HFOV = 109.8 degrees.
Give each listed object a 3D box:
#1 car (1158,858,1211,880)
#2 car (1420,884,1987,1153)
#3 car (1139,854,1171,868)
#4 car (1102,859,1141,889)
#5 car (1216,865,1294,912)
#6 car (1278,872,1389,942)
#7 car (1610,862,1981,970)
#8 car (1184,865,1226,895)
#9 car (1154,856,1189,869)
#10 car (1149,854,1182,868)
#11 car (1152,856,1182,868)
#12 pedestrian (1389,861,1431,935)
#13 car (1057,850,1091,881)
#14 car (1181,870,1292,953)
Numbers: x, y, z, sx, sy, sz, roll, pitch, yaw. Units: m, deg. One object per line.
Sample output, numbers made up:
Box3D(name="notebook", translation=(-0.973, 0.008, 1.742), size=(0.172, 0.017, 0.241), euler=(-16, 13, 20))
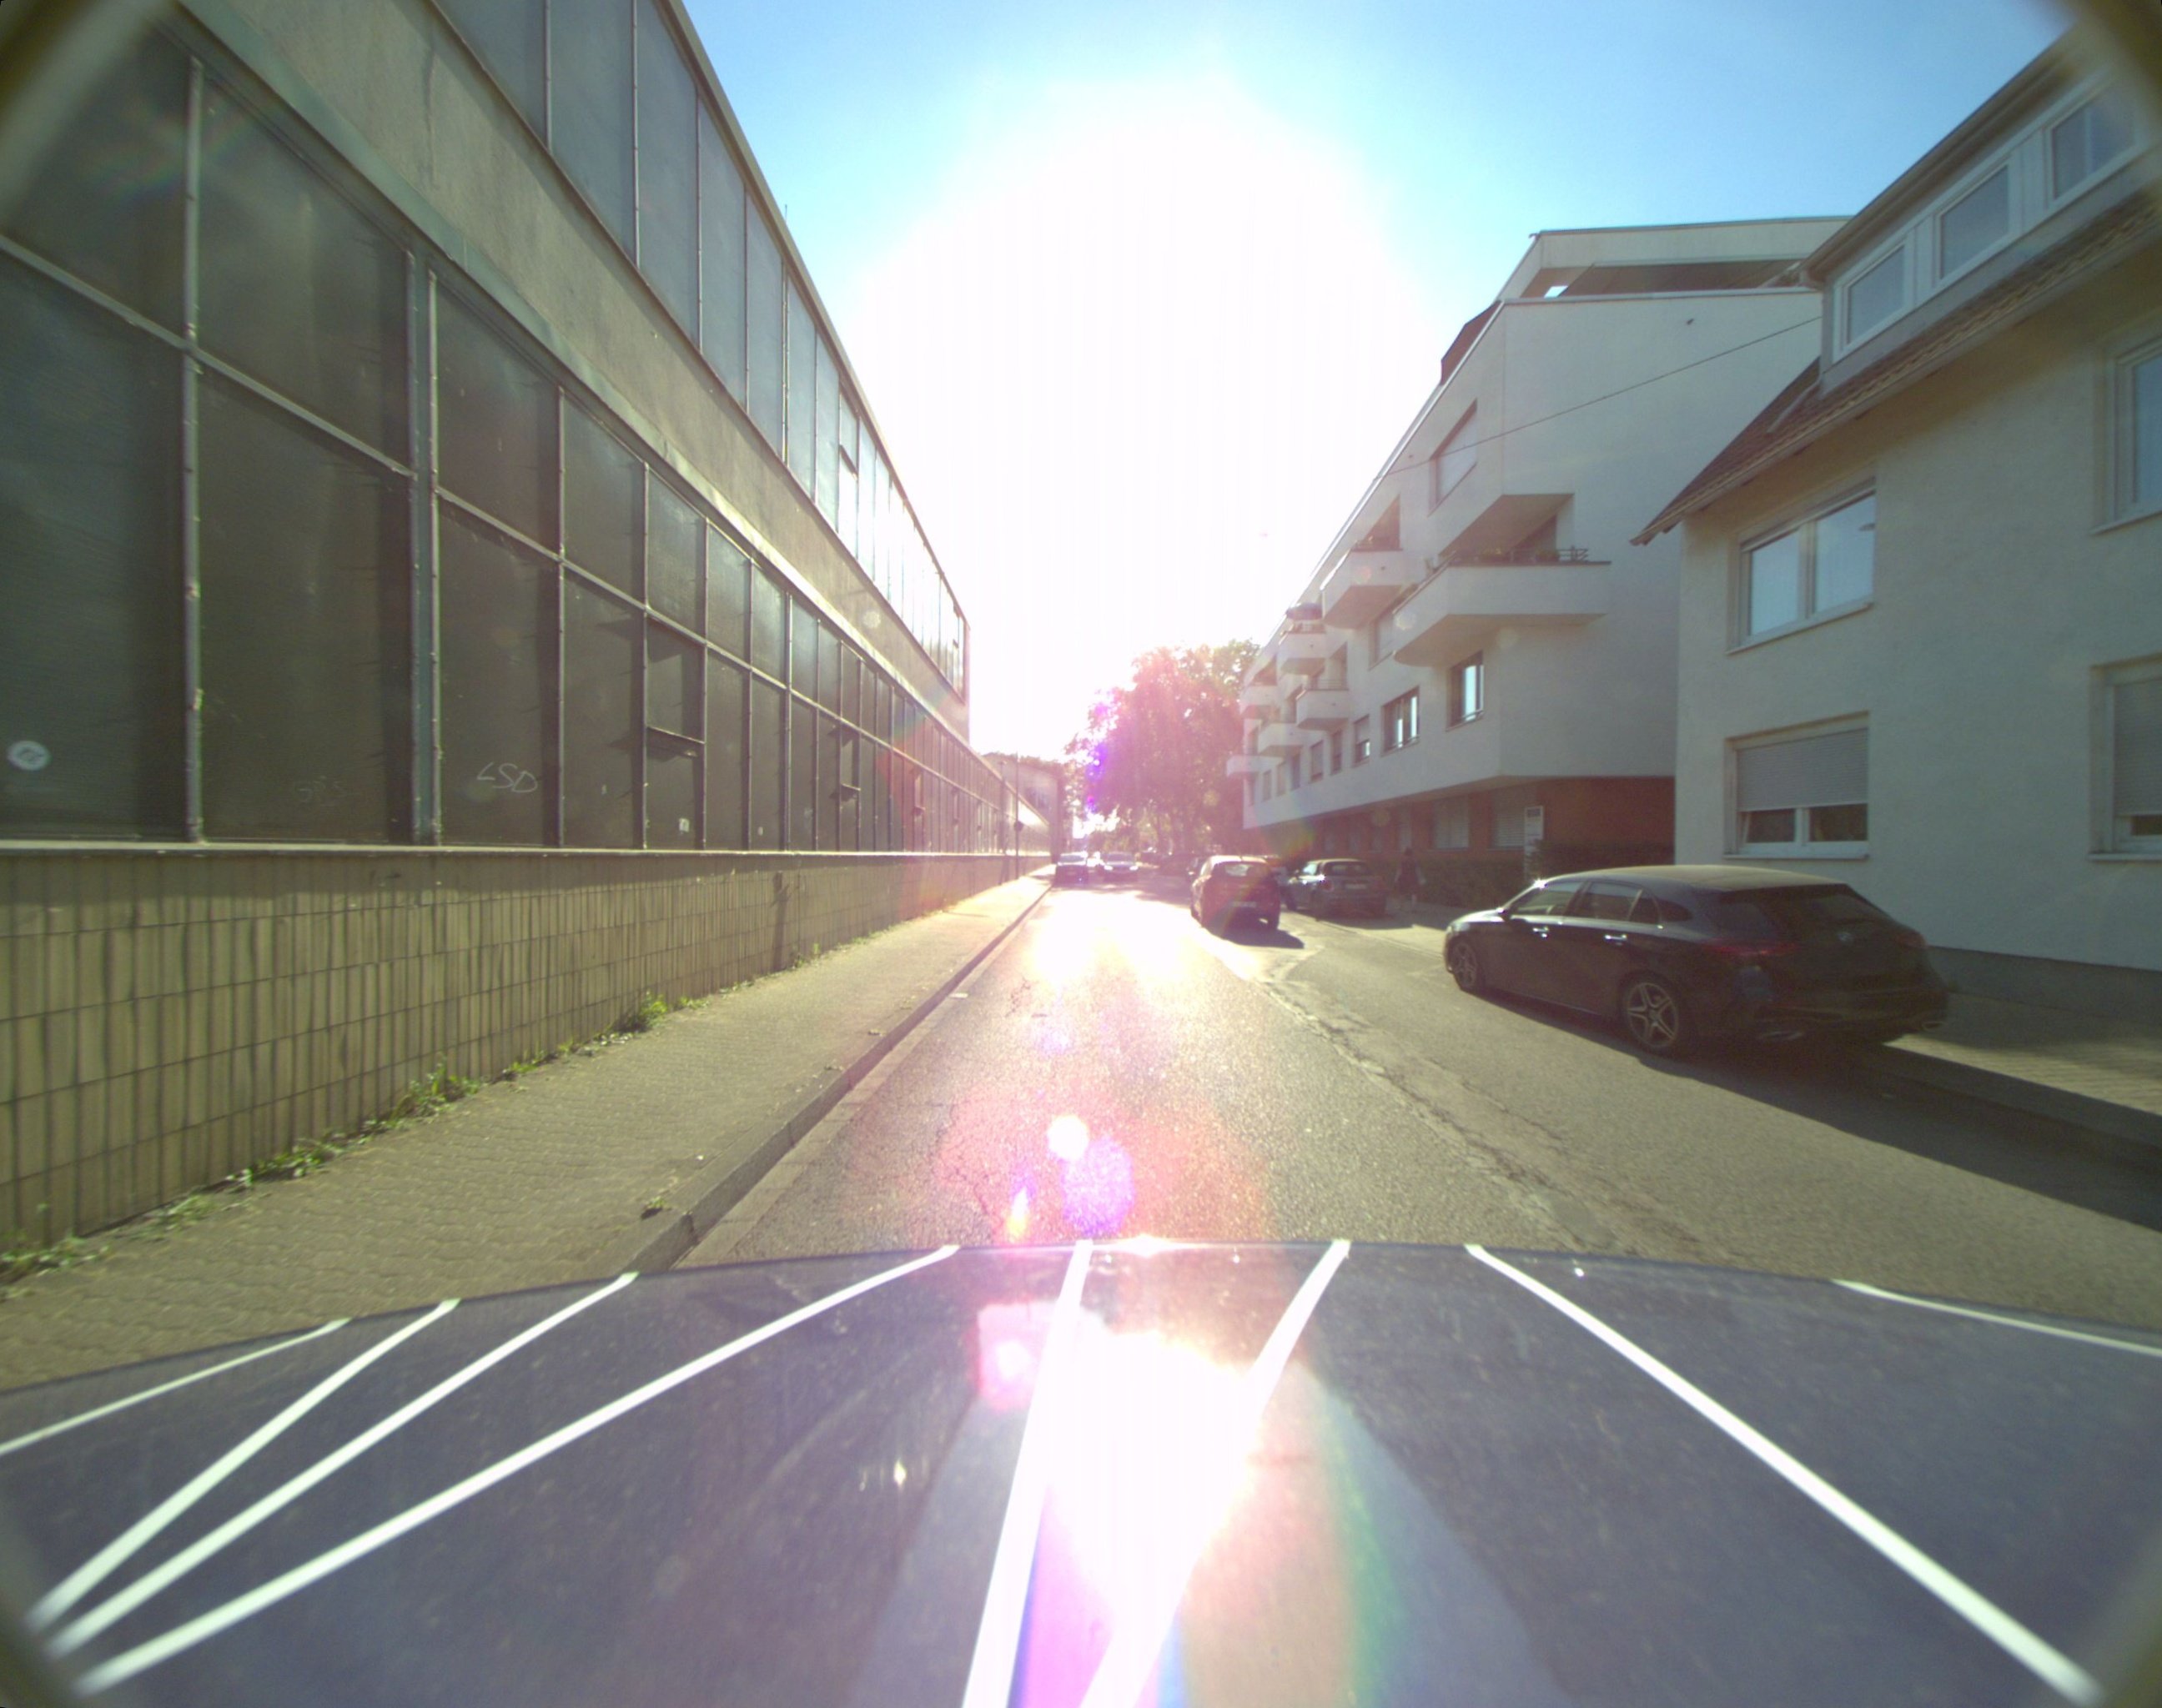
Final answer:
Box3D(name="car", translation=(8.251, 1.171, 60.437), size=(3.966, 1.652, 1.696), euler=(0, 1, -27))
Box3D(name="car", translation=(5.102, 1.168, 7.190), size=(1.689, 1.526, 4.333), euler=(-1, 1, -2))
Box3D(name="car", translation=(10.302, 1.026, 105.777), size=(4.005, 1.875, 1.713), euler=(0, 1, -26))
Box3D(name="car", translation=(2.274, 1.095, 43.280), size=(1.855, 1.527, 3.856), euler=(-1, 1, -2))
Box3D(name="car", translation=(6.706, 1.277, 29.820), size=(1.863, 1.578, 4.620), euler=(-1, 1, -2))
Box3D(name="car", translation=(6.604, 1.331, 20.286), size=(1.672, 1.527, 3.856), euler=(-1, 1, 0))
Box3D(name="car", translation=(12.354, 1.022, 13.401), size=(4.618, 1.628, 2.014), euler=(2, 0, 0))
Box3D(name="car", translation=(6.705, 1.388, 41.392), size=(1.679, 1.425, 3.770), euler=(-1, 1, 0))
Box3D(name="car", translation=(11.649, 1.087, 98.031), size=(4.002, 1.615, 1.795), euler=(1, 1, -14))
Box3D(name="car", translation=(11.467, 0.916, 103.222), size=(4.002, 1.871, 1.831), euler=(0, 1, -16))
Box3D(name="car", translation=(11.332, 1.078, 100.374), size=(3.603, 1.552, 1.647), euler=(0, 1, -17))
Box3D(name="pedestrian", translation=(8.418, 1.099, 19.411), size=(0.862, 1.808, 1.134), euler=(-3, 0, 25))
Box3D(name="car", translation=(-0.409, 0.604, 42.439), size=(1.812, 1.578, 4.404), euler=(-1, 1, -1))
Box3D(name="car", translation=(3.385, 1.196, 17.313), size=(1.846, 1.482, 4.145), euler=(3, 0, 3))
